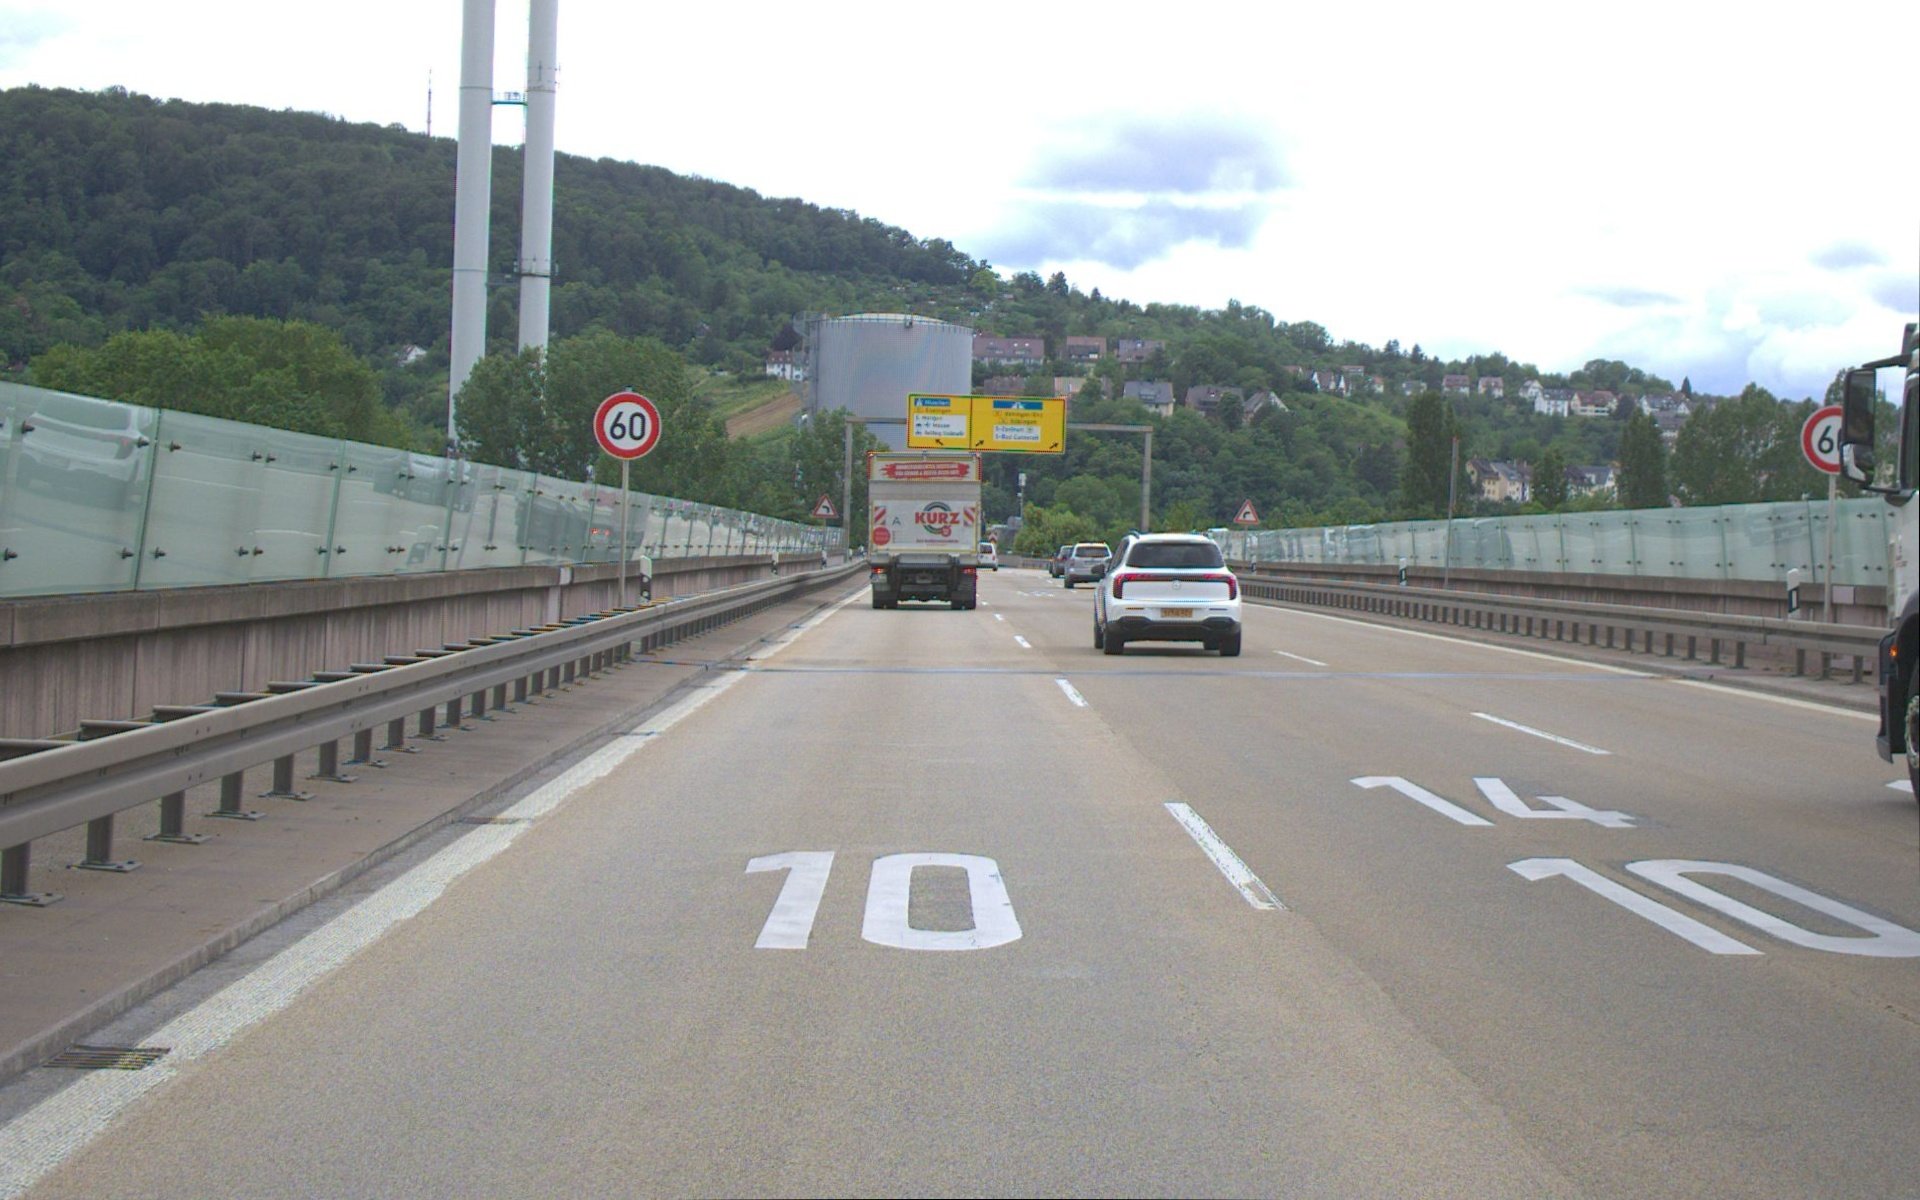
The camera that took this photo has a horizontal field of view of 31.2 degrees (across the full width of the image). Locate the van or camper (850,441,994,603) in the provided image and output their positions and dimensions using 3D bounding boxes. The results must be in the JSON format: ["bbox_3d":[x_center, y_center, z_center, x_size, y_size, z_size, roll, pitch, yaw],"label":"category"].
[{"bbox_3d":[-0.803,-1.806,81.039,3.122,3.567,8.550,1,1,1],"label":"van or camper"}]

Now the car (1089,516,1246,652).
[{"bbox_3d":[2.859,-0.257,48.106,1.924,1.779,4.113,1,1,0],"label":"car"}]

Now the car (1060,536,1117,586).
[{"bbox_3d":[4.734,-1.456,127.052,1.924,1.779,4.113,1,1,1],"label":"car"}]

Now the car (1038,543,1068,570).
[{"bbox_3d":[6.481,-3.052,239.483,1.924,1.779,4.113,1,1,0],"label":"car"}]

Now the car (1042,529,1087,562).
[{"bbox_3d":[4.710,-2.445,154.594,1.924,1.429,4.113,1,1,3],"label":"car"}]

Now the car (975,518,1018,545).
[{"bbox_3d":[2.707,-5.125,256.285,2.474,1.973,5.158,1,1,9],"label":"car"}]

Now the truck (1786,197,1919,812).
[{"bbox_3d":[6.771,-0.539,20.085,2.631,3.502,4.904,1,1,0],"label":"truck"}]
